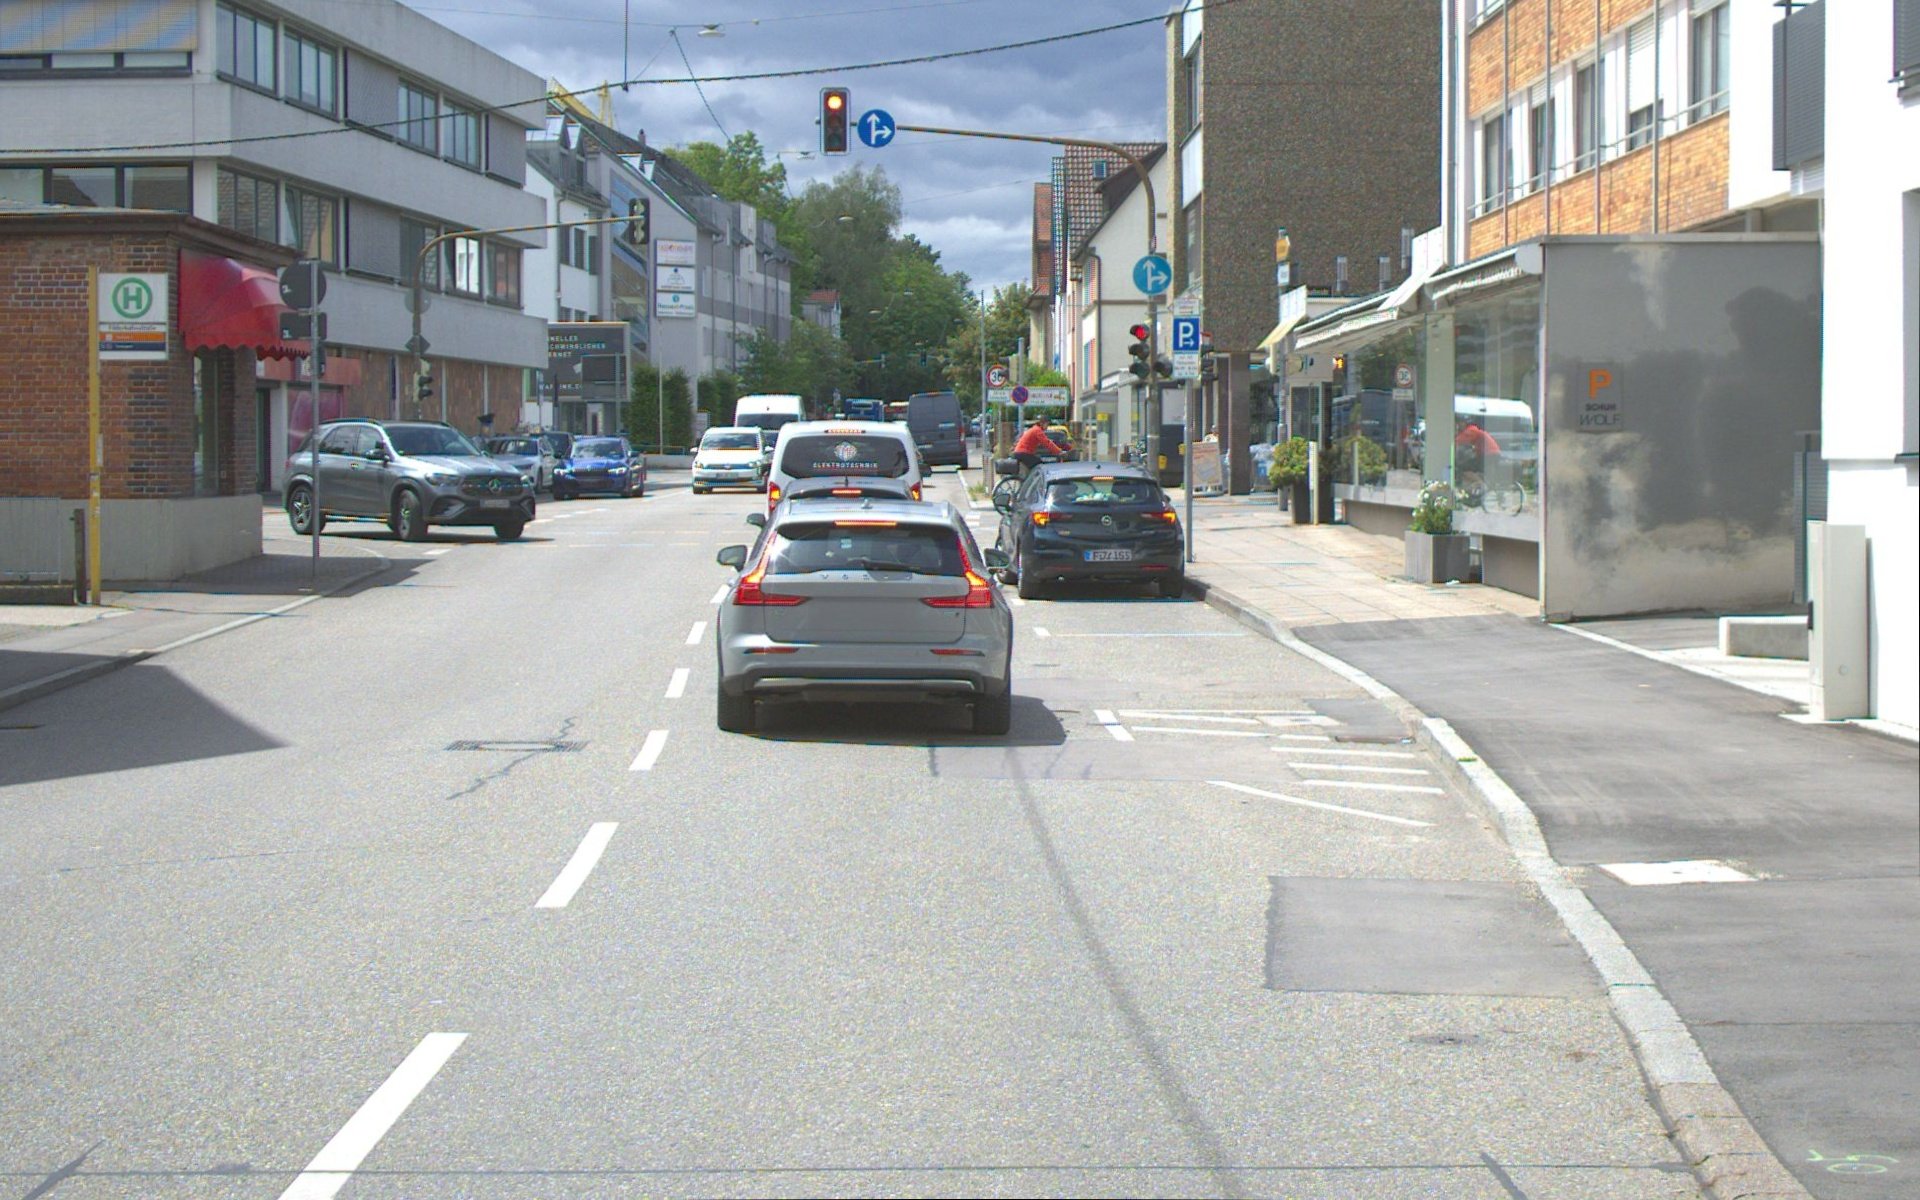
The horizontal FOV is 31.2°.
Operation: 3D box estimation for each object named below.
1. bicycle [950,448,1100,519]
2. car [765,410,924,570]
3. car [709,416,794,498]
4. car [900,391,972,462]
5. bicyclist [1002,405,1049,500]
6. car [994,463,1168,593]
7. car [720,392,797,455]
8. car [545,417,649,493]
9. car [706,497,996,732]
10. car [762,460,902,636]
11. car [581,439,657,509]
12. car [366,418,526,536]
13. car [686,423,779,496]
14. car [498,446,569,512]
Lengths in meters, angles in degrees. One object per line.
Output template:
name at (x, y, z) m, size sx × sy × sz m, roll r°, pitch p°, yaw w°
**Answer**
bicycle at (1.106, -1.977, 58.566) m, size 2.524 × 1.170 × 0.585 m, roll 1°, pitch 1°, yaw 0°
car at (-1.376, -1.318, 42.177) m, size 1.836 × 1.855 × 3.850 m, roll 1°, pitch 1°, yaw -1°
car at (-5.515, -3.782, 91.451) m, size 1.993 × 2.007 × 4.000 m, roll 2°, pitch 1°, yaw -1°
car at (-0.882, -6.162, 122.583) m, size 2.436 × 2.310 × 5.327 m, roll 2°, pitch 1°, yaw -1°
bicyclist at (1.107, -2.511, 58.574) m, size 0.772 × 1.601 × 0.581 m, roll 0°, pitch 0°, yaw 0°
car at (1.303, -0.797, 38.444) m, size 1.753 × 1.366 × 4.000 m, roll 0°, pitch 1°, yaw -1°
car at (-5.808, -5.081, 99.539) m, size 1.873 × 1.634 × 4.000 m, roll 0°, pitch 0°, yaw 2°
car at (-8.564, -3.410, 81.326) m, size 1.873 × 1.634 × 4.000 m, roll 2°, pitch 1°, yaw 2°
car at (-0.678, 0.052, 22.718) m, size 1.744 × 1.412 × 4.000 m, roll 0°, pitch 1°, yaw -1°
car at (-1.194, -0.536, 32.805) m, size 1.273 × 1.522 × 3.051 m, roll 0°, pitch 4°, yaw -1°
car at (-10.527, -3.866, 106.411) m, size 1.993 × 2.007 × 4.000 m, roll 2°, pitch 1°, yaw -1°
car at (-7.871, -1.837, 52.327) m, size 1.839 × 1.720 × 4.353 m, roll 0°, pitch 1°, yaw -16°
car at (-5.587, -3.459, 84.990) m, size 1.873 × 1.634 × 4.000 m, roll 2°, pitch 1°, yaw 2°
car at (-10.694, -3.023, 86.350) m, size 1.384 × 1.535 × 3.399 m, roll 0°, pitch 0°, yaw 0°
